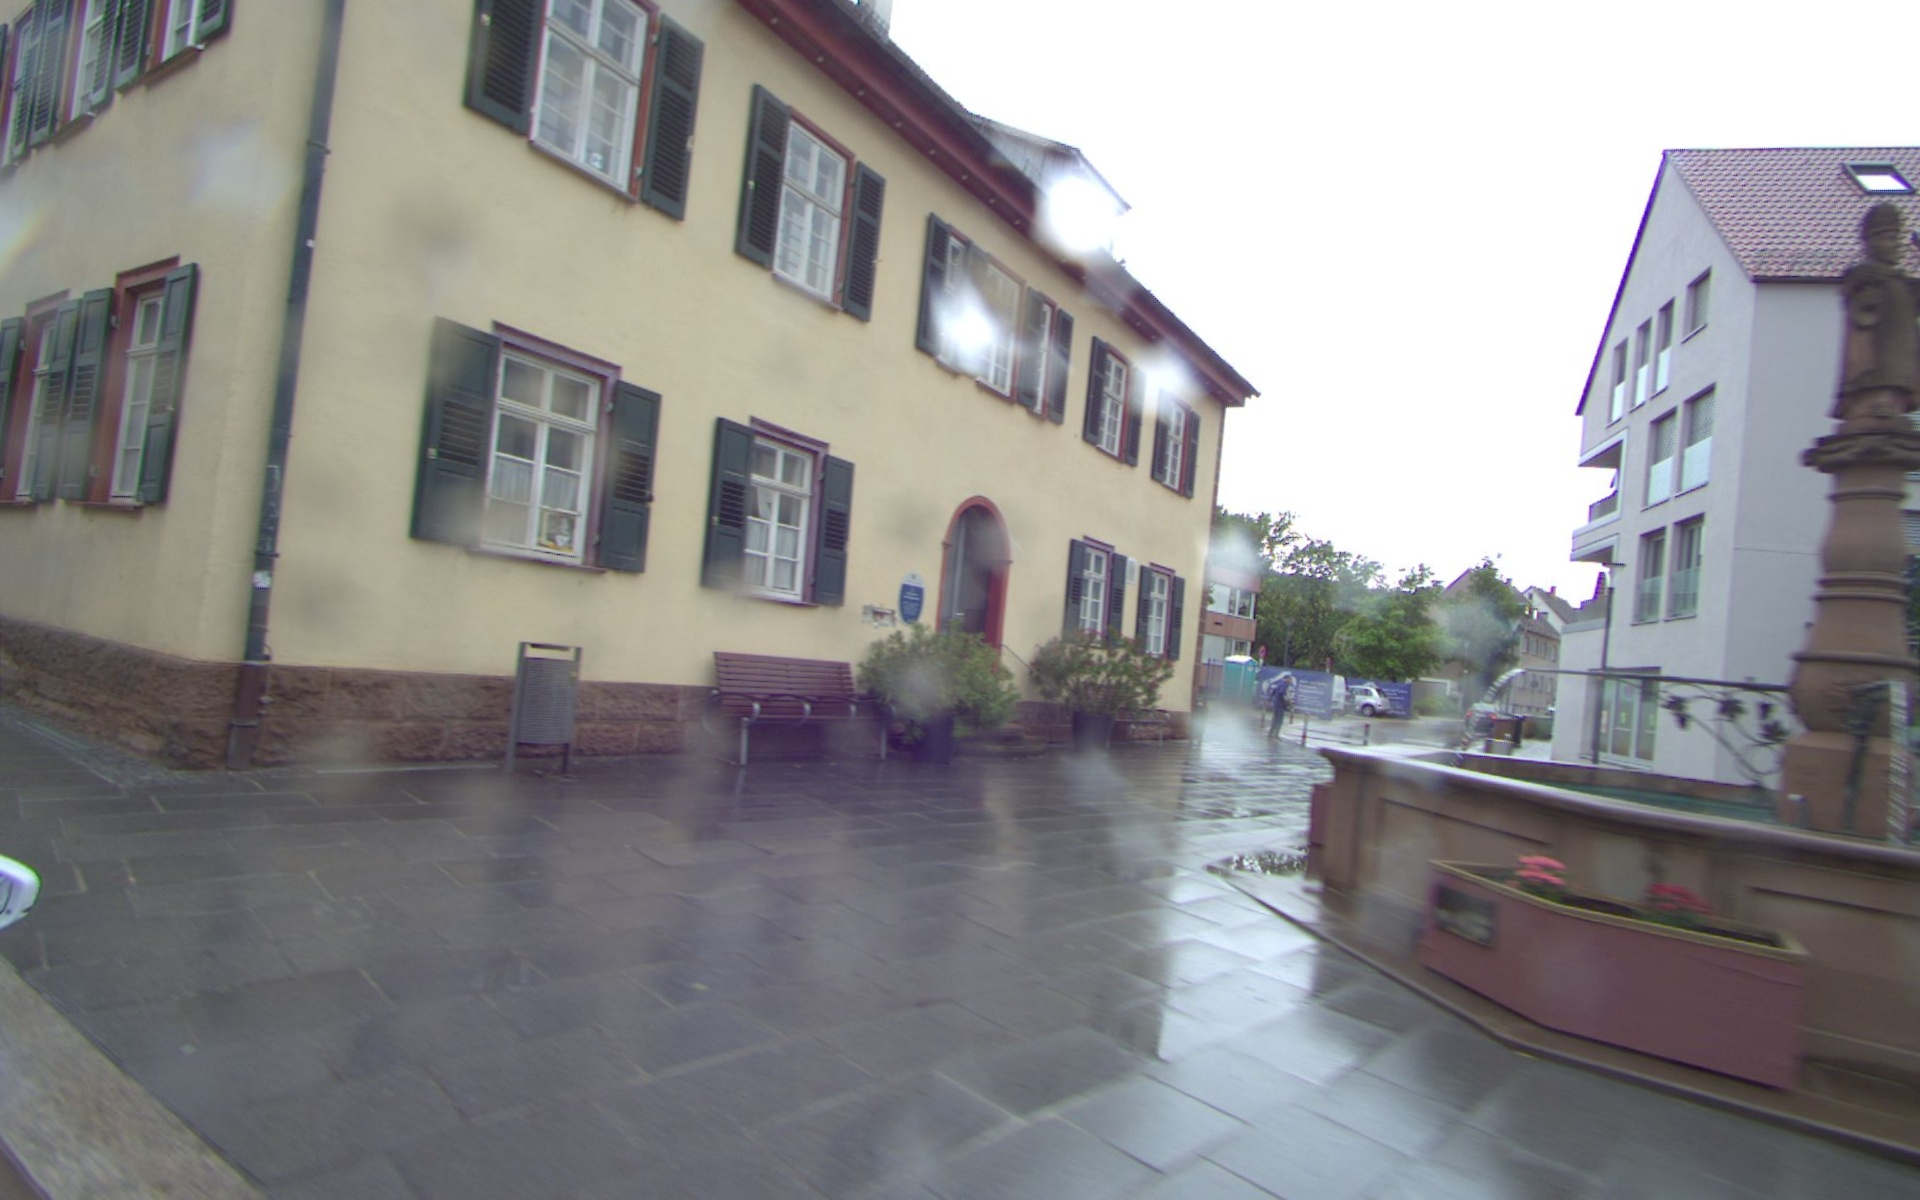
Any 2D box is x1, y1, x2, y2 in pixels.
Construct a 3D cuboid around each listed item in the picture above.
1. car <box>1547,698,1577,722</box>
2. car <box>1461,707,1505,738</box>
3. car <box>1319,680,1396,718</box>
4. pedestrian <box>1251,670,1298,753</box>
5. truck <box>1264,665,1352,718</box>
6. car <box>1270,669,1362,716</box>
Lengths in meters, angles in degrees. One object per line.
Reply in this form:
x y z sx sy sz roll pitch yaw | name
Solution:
45.910 8.421 76.689 1.646 1.570 3.597 6 -2 35 | car
27.745 6.467 53.323 1.646 1.379 3.599 6 -2 33 | car
21.638 5.372 54.804 3.492 1.566 1.860 6 -1 34 | car
7.531 2.663 24.123 0.777 1.843 0.687 6 0 7 | pedestrian
16.706 4.370 48.291 3.492 2.037 1.860 6 -1 34 | truck
18.025 4.681 50.955 3.935 1.815 1.996 6 -1 33 | car
